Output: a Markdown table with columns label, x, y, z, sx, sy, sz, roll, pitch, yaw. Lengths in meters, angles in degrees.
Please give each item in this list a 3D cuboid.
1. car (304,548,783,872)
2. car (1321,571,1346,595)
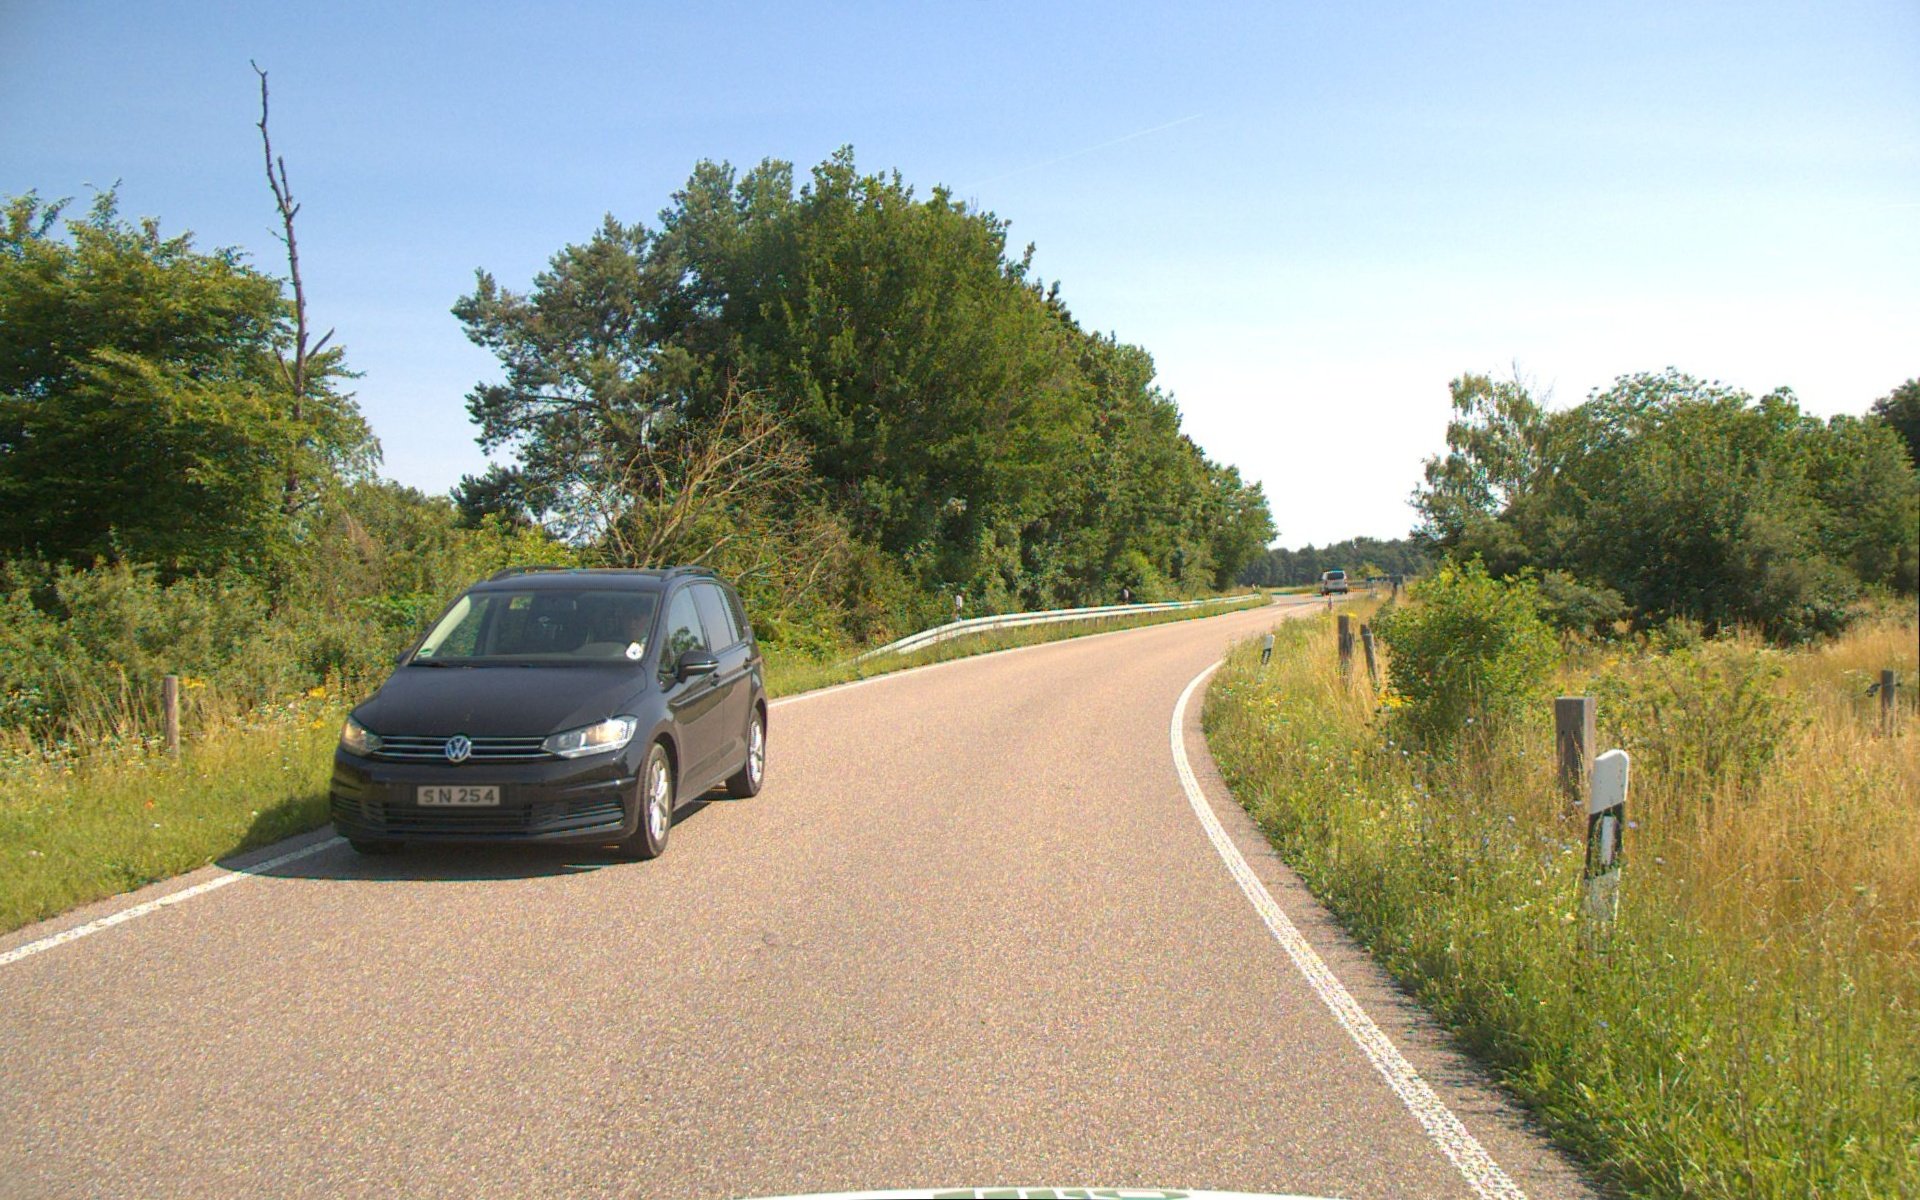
| label | x | y | z | sx | sy | sz | roll | pitch | yaw |
| --- | --- | --- | --- | --- | --- | --- | --- | --- | --- |
| car | -2.382 | 0.559 | 10.619 | 1.746 | 1.660 | 4.163 | 0 | 0 | 4 |
| car | 31.382 | -1.418 | 139.137 | 1.920 | 1.834 | 4.164 | 0 | -1 | 11 |
